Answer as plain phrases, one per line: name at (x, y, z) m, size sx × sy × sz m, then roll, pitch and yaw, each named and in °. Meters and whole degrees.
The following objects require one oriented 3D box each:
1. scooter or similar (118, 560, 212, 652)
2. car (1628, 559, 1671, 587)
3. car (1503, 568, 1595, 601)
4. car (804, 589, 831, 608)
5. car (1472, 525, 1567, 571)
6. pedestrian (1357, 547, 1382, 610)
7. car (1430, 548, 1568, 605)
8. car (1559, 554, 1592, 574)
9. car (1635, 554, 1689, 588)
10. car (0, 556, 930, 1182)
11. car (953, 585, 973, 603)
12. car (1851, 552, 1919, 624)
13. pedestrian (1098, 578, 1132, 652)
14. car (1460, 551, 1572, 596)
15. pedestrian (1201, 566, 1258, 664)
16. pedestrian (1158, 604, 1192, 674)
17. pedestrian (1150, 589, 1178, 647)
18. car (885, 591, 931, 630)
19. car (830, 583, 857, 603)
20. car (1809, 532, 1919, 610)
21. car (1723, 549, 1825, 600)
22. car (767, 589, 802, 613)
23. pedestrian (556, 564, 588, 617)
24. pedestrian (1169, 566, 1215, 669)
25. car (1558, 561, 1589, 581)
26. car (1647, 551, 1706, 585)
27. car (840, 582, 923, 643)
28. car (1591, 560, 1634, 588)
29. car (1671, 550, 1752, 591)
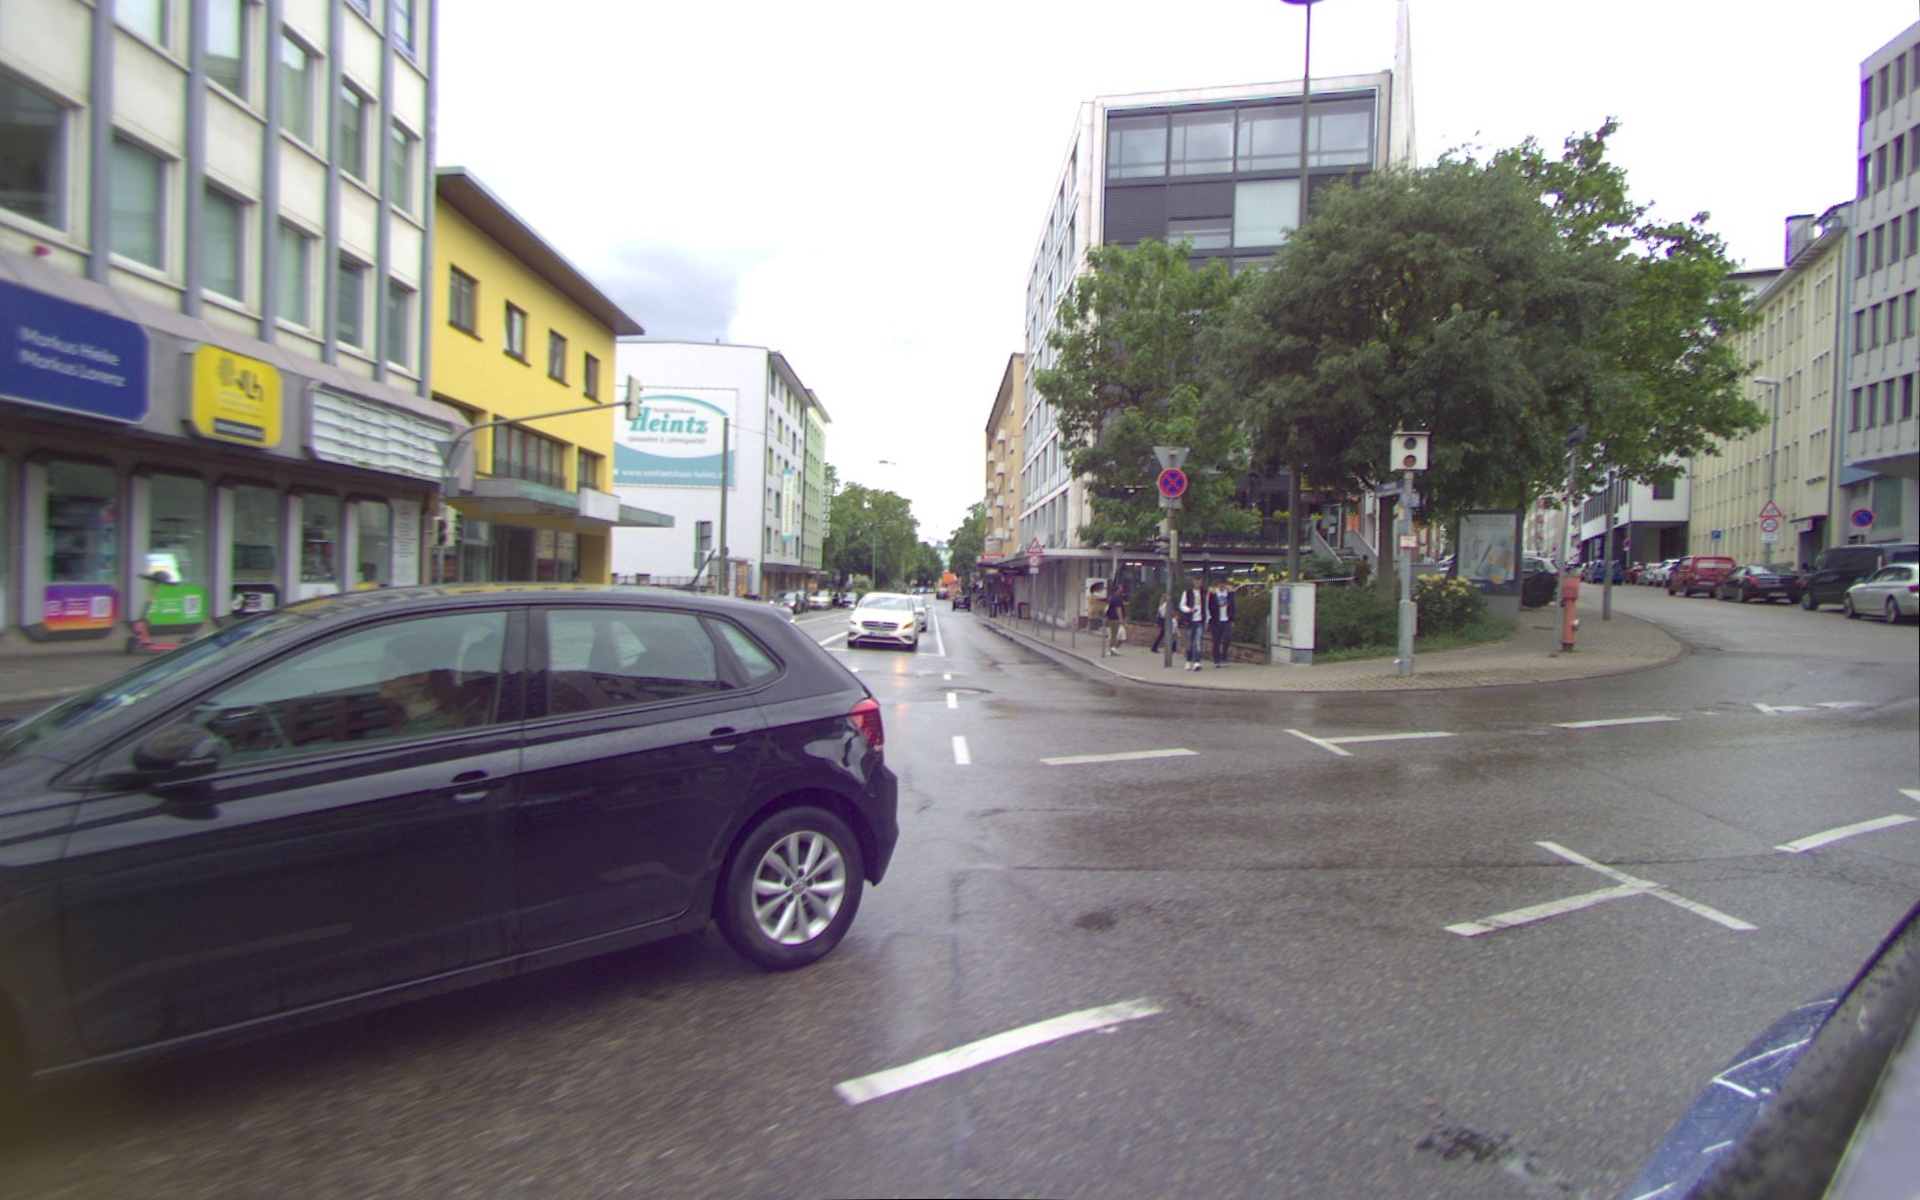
scooter or similar at (-12.304, 0.069, 15.694) m, size 0.372 × 1.377 × 1.143 m, roll 0°, pitch 2°, yaw 15°
car at (46.075, -1.802, 67.702) m, size 1.731 × 1.817 × 3.637 m, roll 0°, pitch 1°, yaw 24°
car at (22.891, -0.626, 39.407) m, size 3.024 × 1.197 × 2.030 m, roll 0°, pitch 2°, yaw 31°
car at (-11.895, -0.150, 84.343) m, size 1.958 × 1.471 × 4.007 m, roll 0°, pitch 0°, yaw -12°
car at (28.837, -2.659, 52.259) m, size 1.946 × 2.293 × 3.841 m, roll -2°, pitch 2°, yaw -29°
pedestrian at (12.032, -0.614, 29.742) m, size 0.588 × 1.837 × 0.696 m, roll -1°, pitch -1°, yaw 30°
car at (15.938, -0.697, 29.985) m, size 3.518 × 1.578 × 1.721 m, roll 0°, pitch 2°, yaw 31°
car at (55.354, -3.221, 91.115) m, size 2.005 × 1.669 × 4.392 m, roll 0°, pitch 1°, yaw 24°
car at (44.351, -1.804, 64.014) m, size 2.005 × 2.018 × 4.392 m, roll 0°, pitch 1°, yaw 24°
car at (-2.131, 0.611, 3.558) m, size 3.811 × 1.449 × 1.741 m, roll 0°, pitch 1°, yaw -40°
car at (0.293, -0.577, 95.421) m, size 1.794 × 1.593 × 3.999 m, roll 0°, pitch 1°, yaw 1°
car at (23.879, -0.312, 24.788) m, size 1.983 × 1.652 × 4.572 m, roll 0°, pitch 1°, yaw 27°
pedestrian at (3.926, 0.375, 25.618) m, size 0.774 × 1.837 × 0.592 m, roll 0°, pitch -1°, yaw 3°
car at (20.202, -0.976, 36.908) m, size 3.514 × 1.578 × 1.724 m, roll 0°, pitch 2°, yaw 29°
pedestrian at (5.151, 0.285, 19.415) m, size 0.769 × 1.771 × 0.788 m, roll -4°, pitch -1°, yaw 3°
pedestrian at (5.647, 1.015, 26.616) m, size 0.774 × 1.837 × 0.592 m, roll 0°, pitch -1°, yaw 3°
pedestrian at (5.472, 0.479, 27.197) m, size 0.625 × 1.552 × 0.592 m, roll 0°, pitch -1°, yaw 3°
car at (-2.123, 0.393, 42.088) m, size 1.776 × 1.517 × 4.001 m, roll 0°, pitch 1°, yaw -1°
car at (-10.566, -0.691, 91.463) m, size 1.958 × 1.639 × 4.134 m, roll 0°, pitch 2°, yaw -13°
car at (27.082, -0.838, 29.475) m, size 2.071 × 2.117 × 4.586 m, roll 0°, pitch 1°, yaw 19°
car at (30.185, -0.947, 37.691) m, size 2.007 × 1.771 × 4.572 m, roll 0°, pitch 1°, yaw 26°
car at (-11.176, 0.033, 64.763) m, size 1.751 × 1.471 × 4.002 m, roll 0°, pitch 0°, yaw -3°
pedestrian at (-12.212, -0.304, 31.884) m, size 0.723 × 1.666 × 0.642 m, roll 0°, pitch 1°, yaw 1°
pedestrian at (4.446, 0.335, 19.454) m, size 0.582 × 1.898 × 0.788 m, roll -4°, pitch -1°, yaw 3°
car at (58.239, -2.704, 96.087) m, size 2.005 × 1.859 × 4.392 m, roll 0°, pitch 1°, yaw 24°
car at (42.149, -1.877, 59.631) m, size 2.005 × 1.925 × 4.392 m, roll 0°, pitch 1°, yaw 24°
car at (-2.023, 0.272, 27.164) m, size 1.937 × 1.405 × 4.001 m, roll 3°, pitch 1°, yaw -1°
car at (43.916, -1.746, 68.187) m, size 2.007 × 1.864 × 4.009 m, roll 0°, pitch 1°, yaw 26°
car at (32.735, -1.271, 44.192) m, size 1.913 × 1.693 × 4.409 m, roll 0°, pitch 1°, yaw 24°
